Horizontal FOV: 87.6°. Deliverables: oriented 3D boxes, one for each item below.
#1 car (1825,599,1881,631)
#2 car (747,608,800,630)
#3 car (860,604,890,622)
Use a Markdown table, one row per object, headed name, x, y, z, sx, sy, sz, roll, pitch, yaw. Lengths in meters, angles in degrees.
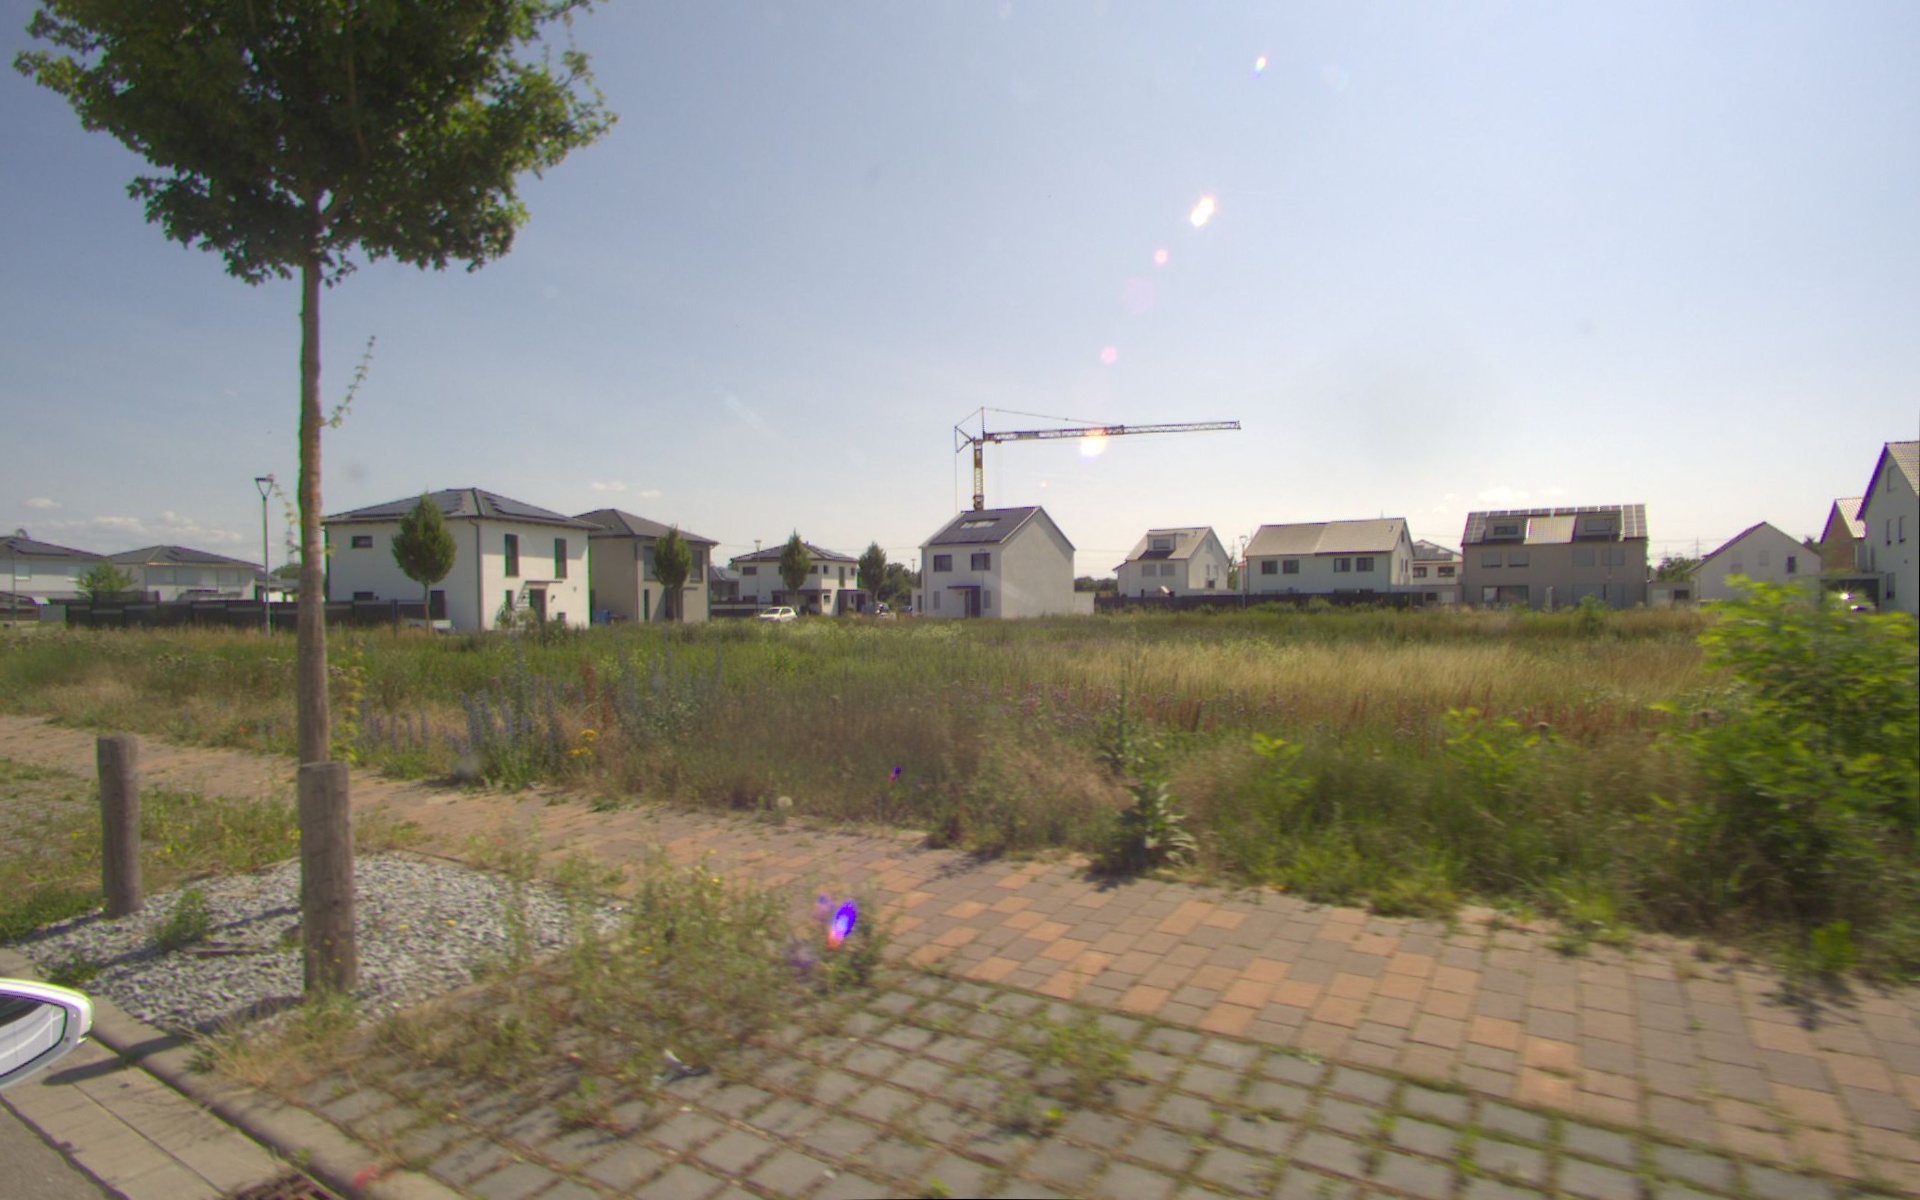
| name | x | y | z | sx | sy | sz | roll | pitch | yaw |
| --- | --- | --- | --- | --- | --- | --- | --- | --- | --- |
| car | 47.155 | 0.765 | 52.946 | 1.792 | 1.595 | 3.974 | 0 | 0 | 36 |
| car | -12.446 | 1.252 | 66.967 | 1.720 | 1.416 | 3.992 | -1 | -1 | 19 |
| car | -8.879 | 1.352 | 104.519 | 1.794 | 1.776 | 4.236 | 0 | 0 | 15 |
